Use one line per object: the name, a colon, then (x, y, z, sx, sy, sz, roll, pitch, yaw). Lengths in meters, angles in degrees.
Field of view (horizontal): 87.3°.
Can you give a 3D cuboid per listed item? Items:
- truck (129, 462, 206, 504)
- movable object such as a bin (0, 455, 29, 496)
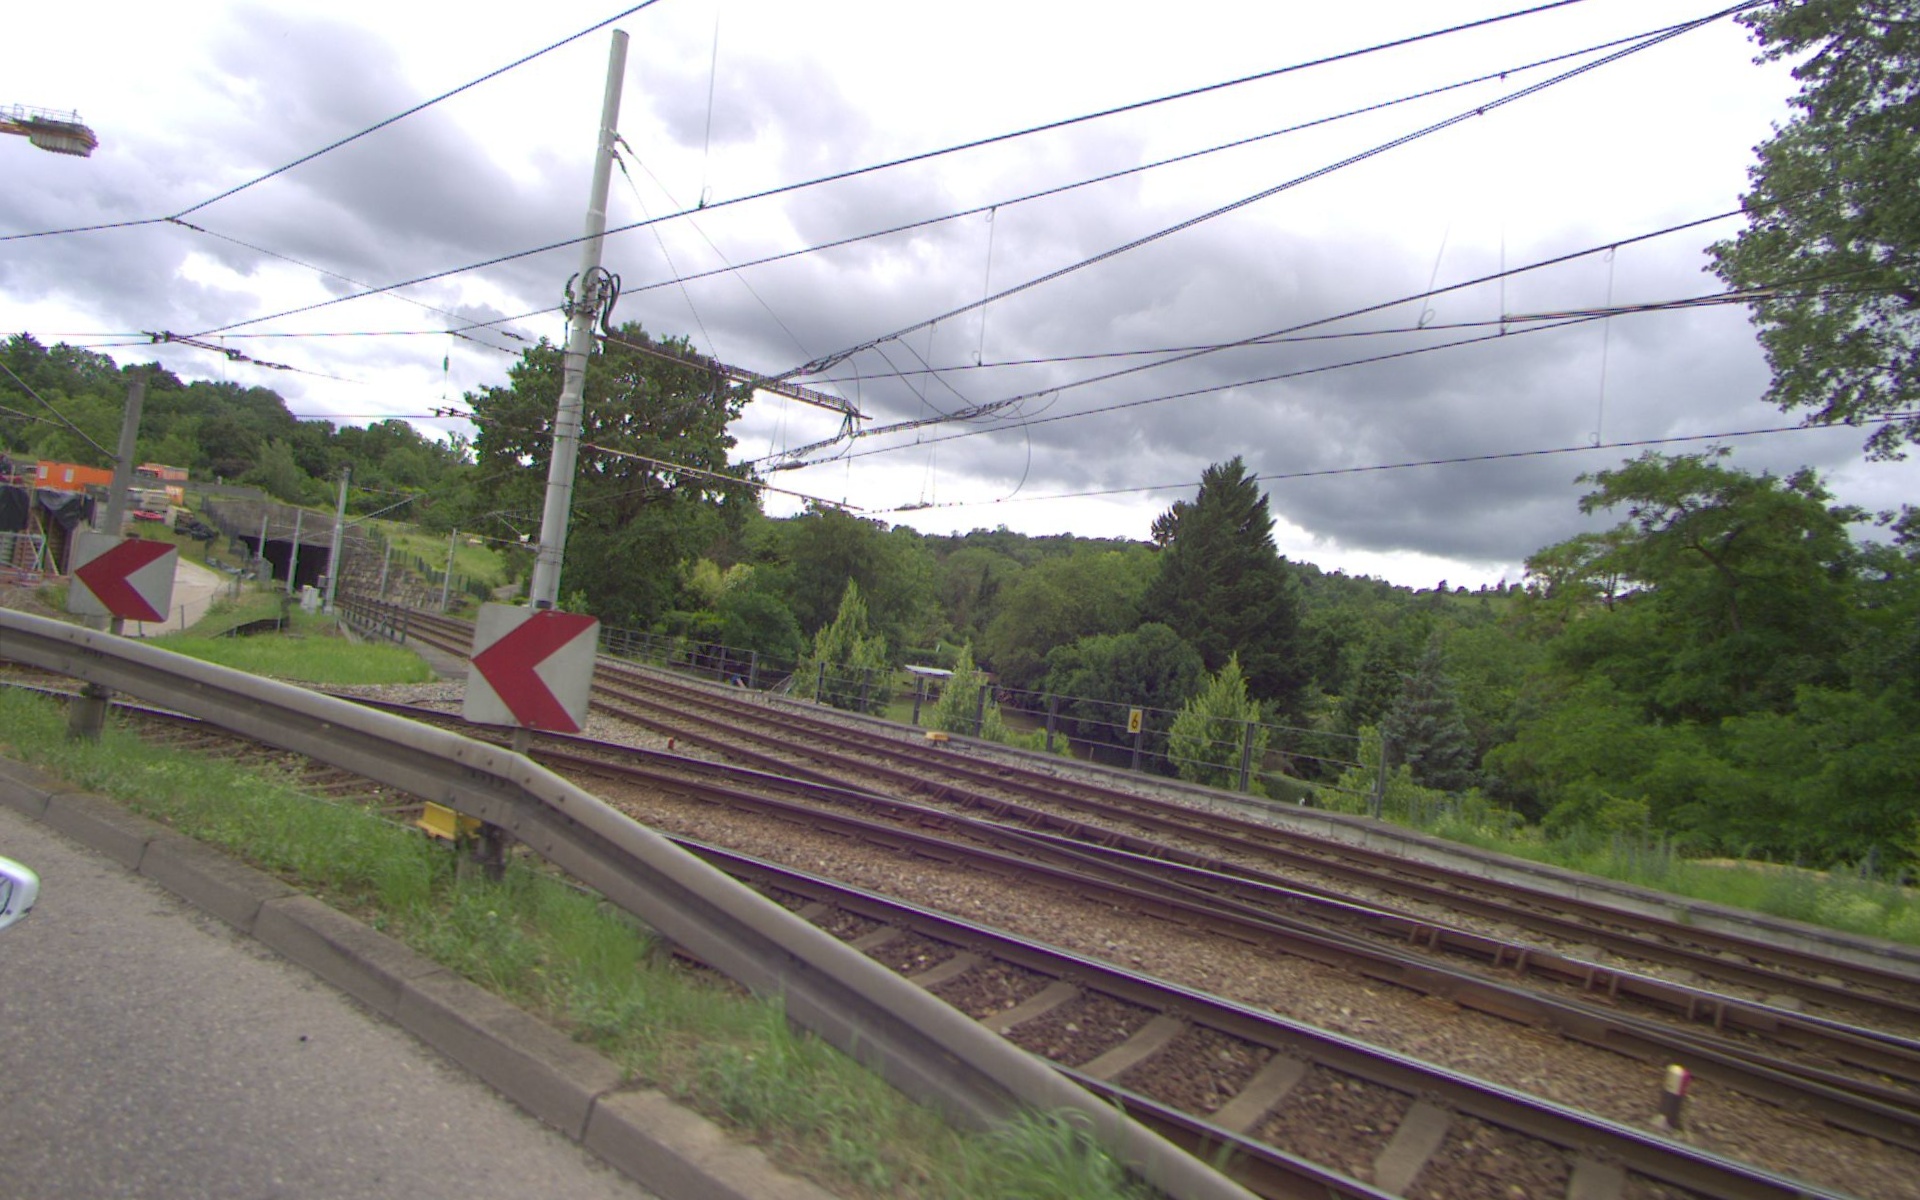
truck: (-112.194, -16.513, 142.608, 3.065, 4.270, 9.791, 8, -1, -3)
movable object such as a bin: (-82.702, -10.837, 86.729, 2.749, 3.114, 1.841, 7, -1, -1)
